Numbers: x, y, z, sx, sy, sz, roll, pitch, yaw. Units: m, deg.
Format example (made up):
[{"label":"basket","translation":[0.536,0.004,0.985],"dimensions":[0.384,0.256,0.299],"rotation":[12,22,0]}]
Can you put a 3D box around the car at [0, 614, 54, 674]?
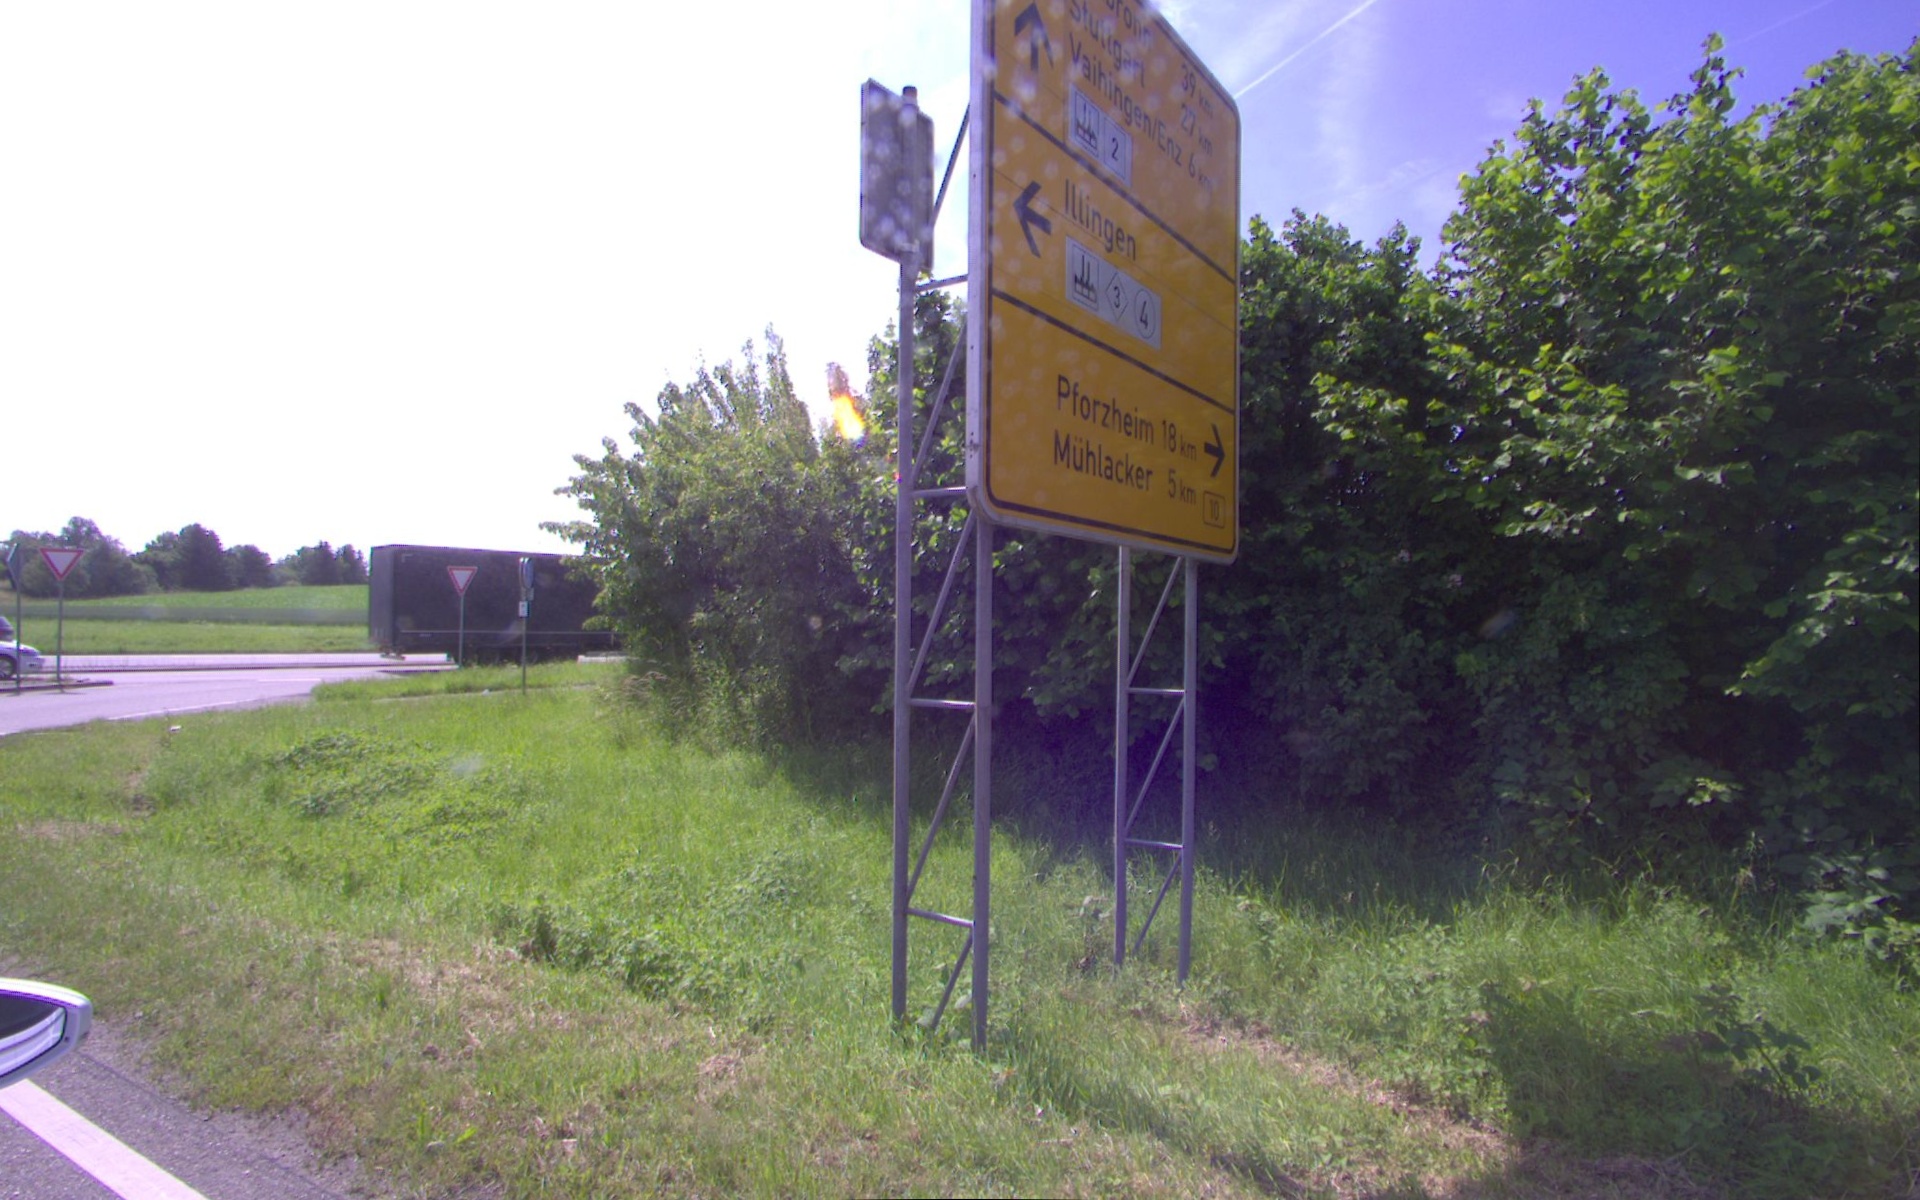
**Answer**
[{"label":"car","translation":[-25.300,1.066,24.749],"dimensions":[1.791,1.480,4.222],"rotation":[0,-1,45]}]

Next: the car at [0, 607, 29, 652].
[{"label":"car","translation":[-36.955,1.073,36.592],"dimensions":[3.935,1.616,1.660],"rotation":[1,-1,-23]}]

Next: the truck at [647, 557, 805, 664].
[{"label":"truck","translation":[-9.630,0.477,41.531],"dimensions":[2.768,4.114,5.795],"rotation":[1,-1,43]}]

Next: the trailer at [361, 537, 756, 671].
[{"label":"trailer","translation":[-13.984,0.325,36.853],"dimensions":[2.768,4.114,13.611],"rotation":[1,-1,43]}]
